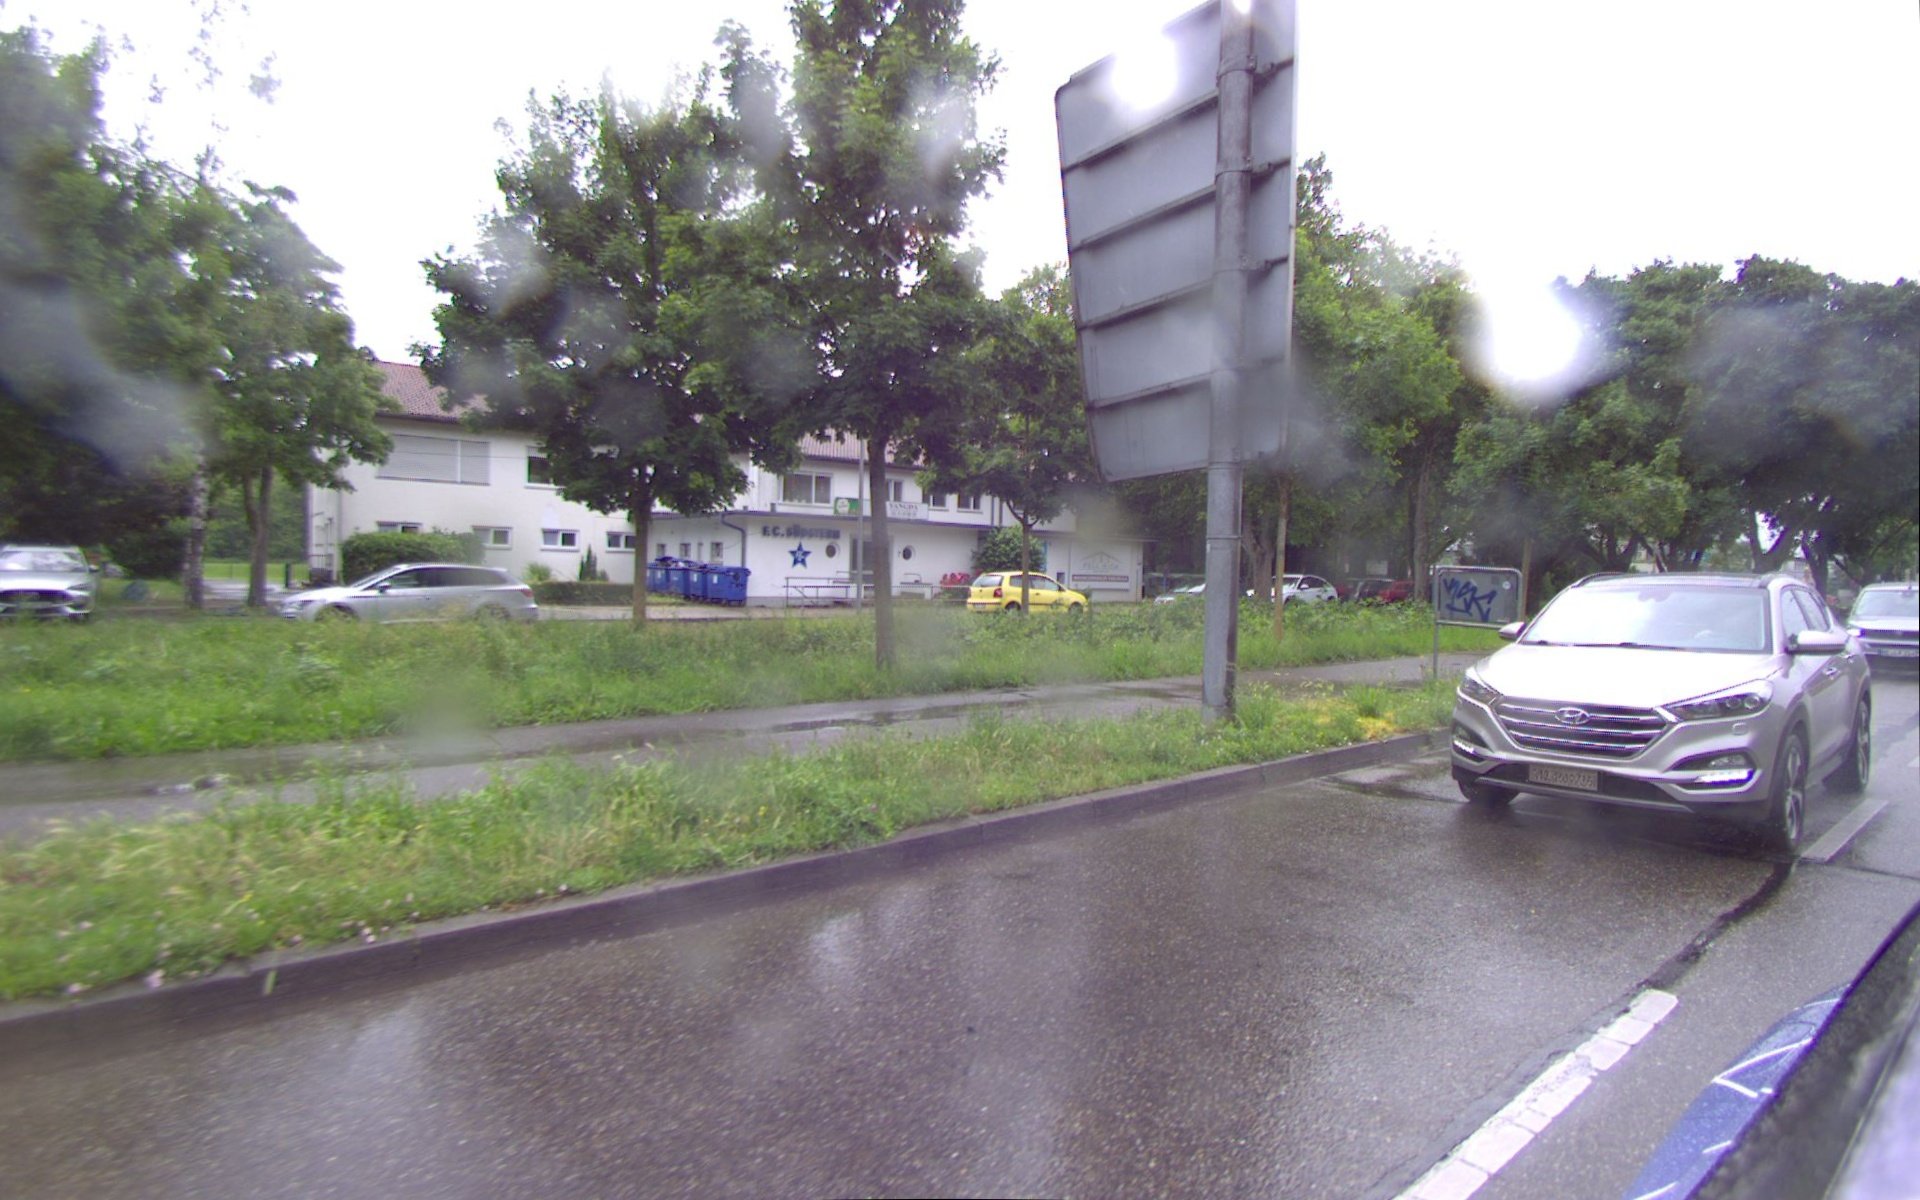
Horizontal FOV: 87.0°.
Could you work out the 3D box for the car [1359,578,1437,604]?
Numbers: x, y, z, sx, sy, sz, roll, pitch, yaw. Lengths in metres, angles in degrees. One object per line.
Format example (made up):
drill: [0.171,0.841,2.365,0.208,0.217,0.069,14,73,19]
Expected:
car: [24.855,-0.522,57.497,3.682,1.467,1.669,0,0,1]

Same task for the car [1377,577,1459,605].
car: [24.895,-0.500,55.059,3.682,1.467,1.669,0,0,1]

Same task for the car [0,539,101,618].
car: [-19.511,-0.425,21.482,1.891,1.522,4.341,0,0,-41]

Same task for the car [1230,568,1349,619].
car: [12.303,-0.288,37.629,4.793,1.738,1.998,-1,3,-41]

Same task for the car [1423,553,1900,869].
car: [5.216,0.539,7.304,4.123,1.630,1.887,0,1,-41]

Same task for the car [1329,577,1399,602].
car: [24.917,-0.652,62.518,3.691,1.467,1.599,0,0,10]

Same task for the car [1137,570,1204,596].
car: [11.739,-0.927,56.325,3.930,1.403,1.586,-1,0,-41]

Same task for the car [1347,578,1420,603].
car: [25.243,-0.549,60.404,3.691,1.467,1.665,0,0,10]

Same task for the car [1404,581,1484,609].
car: [24.764,-0.258,51.841,3.330,1.369,1.522,0,0,7]

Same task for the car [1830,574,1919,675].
car: [18.892,0.434,19.870,4.480,1.818,1.998,0,1,-39]

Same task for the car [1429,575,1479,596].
car: [46.601,-1.377,95.575,1.885,1.989,4.204,0,0,-17]

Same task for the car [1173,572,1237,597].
car: [13.213,-0.831,54.499,3.638,1.332,1.574,-1,1,-41]

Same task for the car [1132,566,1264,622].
car: [8.070,-0.234,34.166,4.560,1.738,1.998,-1,3,-41]

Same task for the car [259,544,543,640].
car: [-10.733,-0.190,19.589,4.557,1.645,1.999,0,3,-38]

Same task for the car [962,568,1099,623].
car: [2.093,-0.149,29.364,4.001,1.505,1.640,-1,0,-41]
